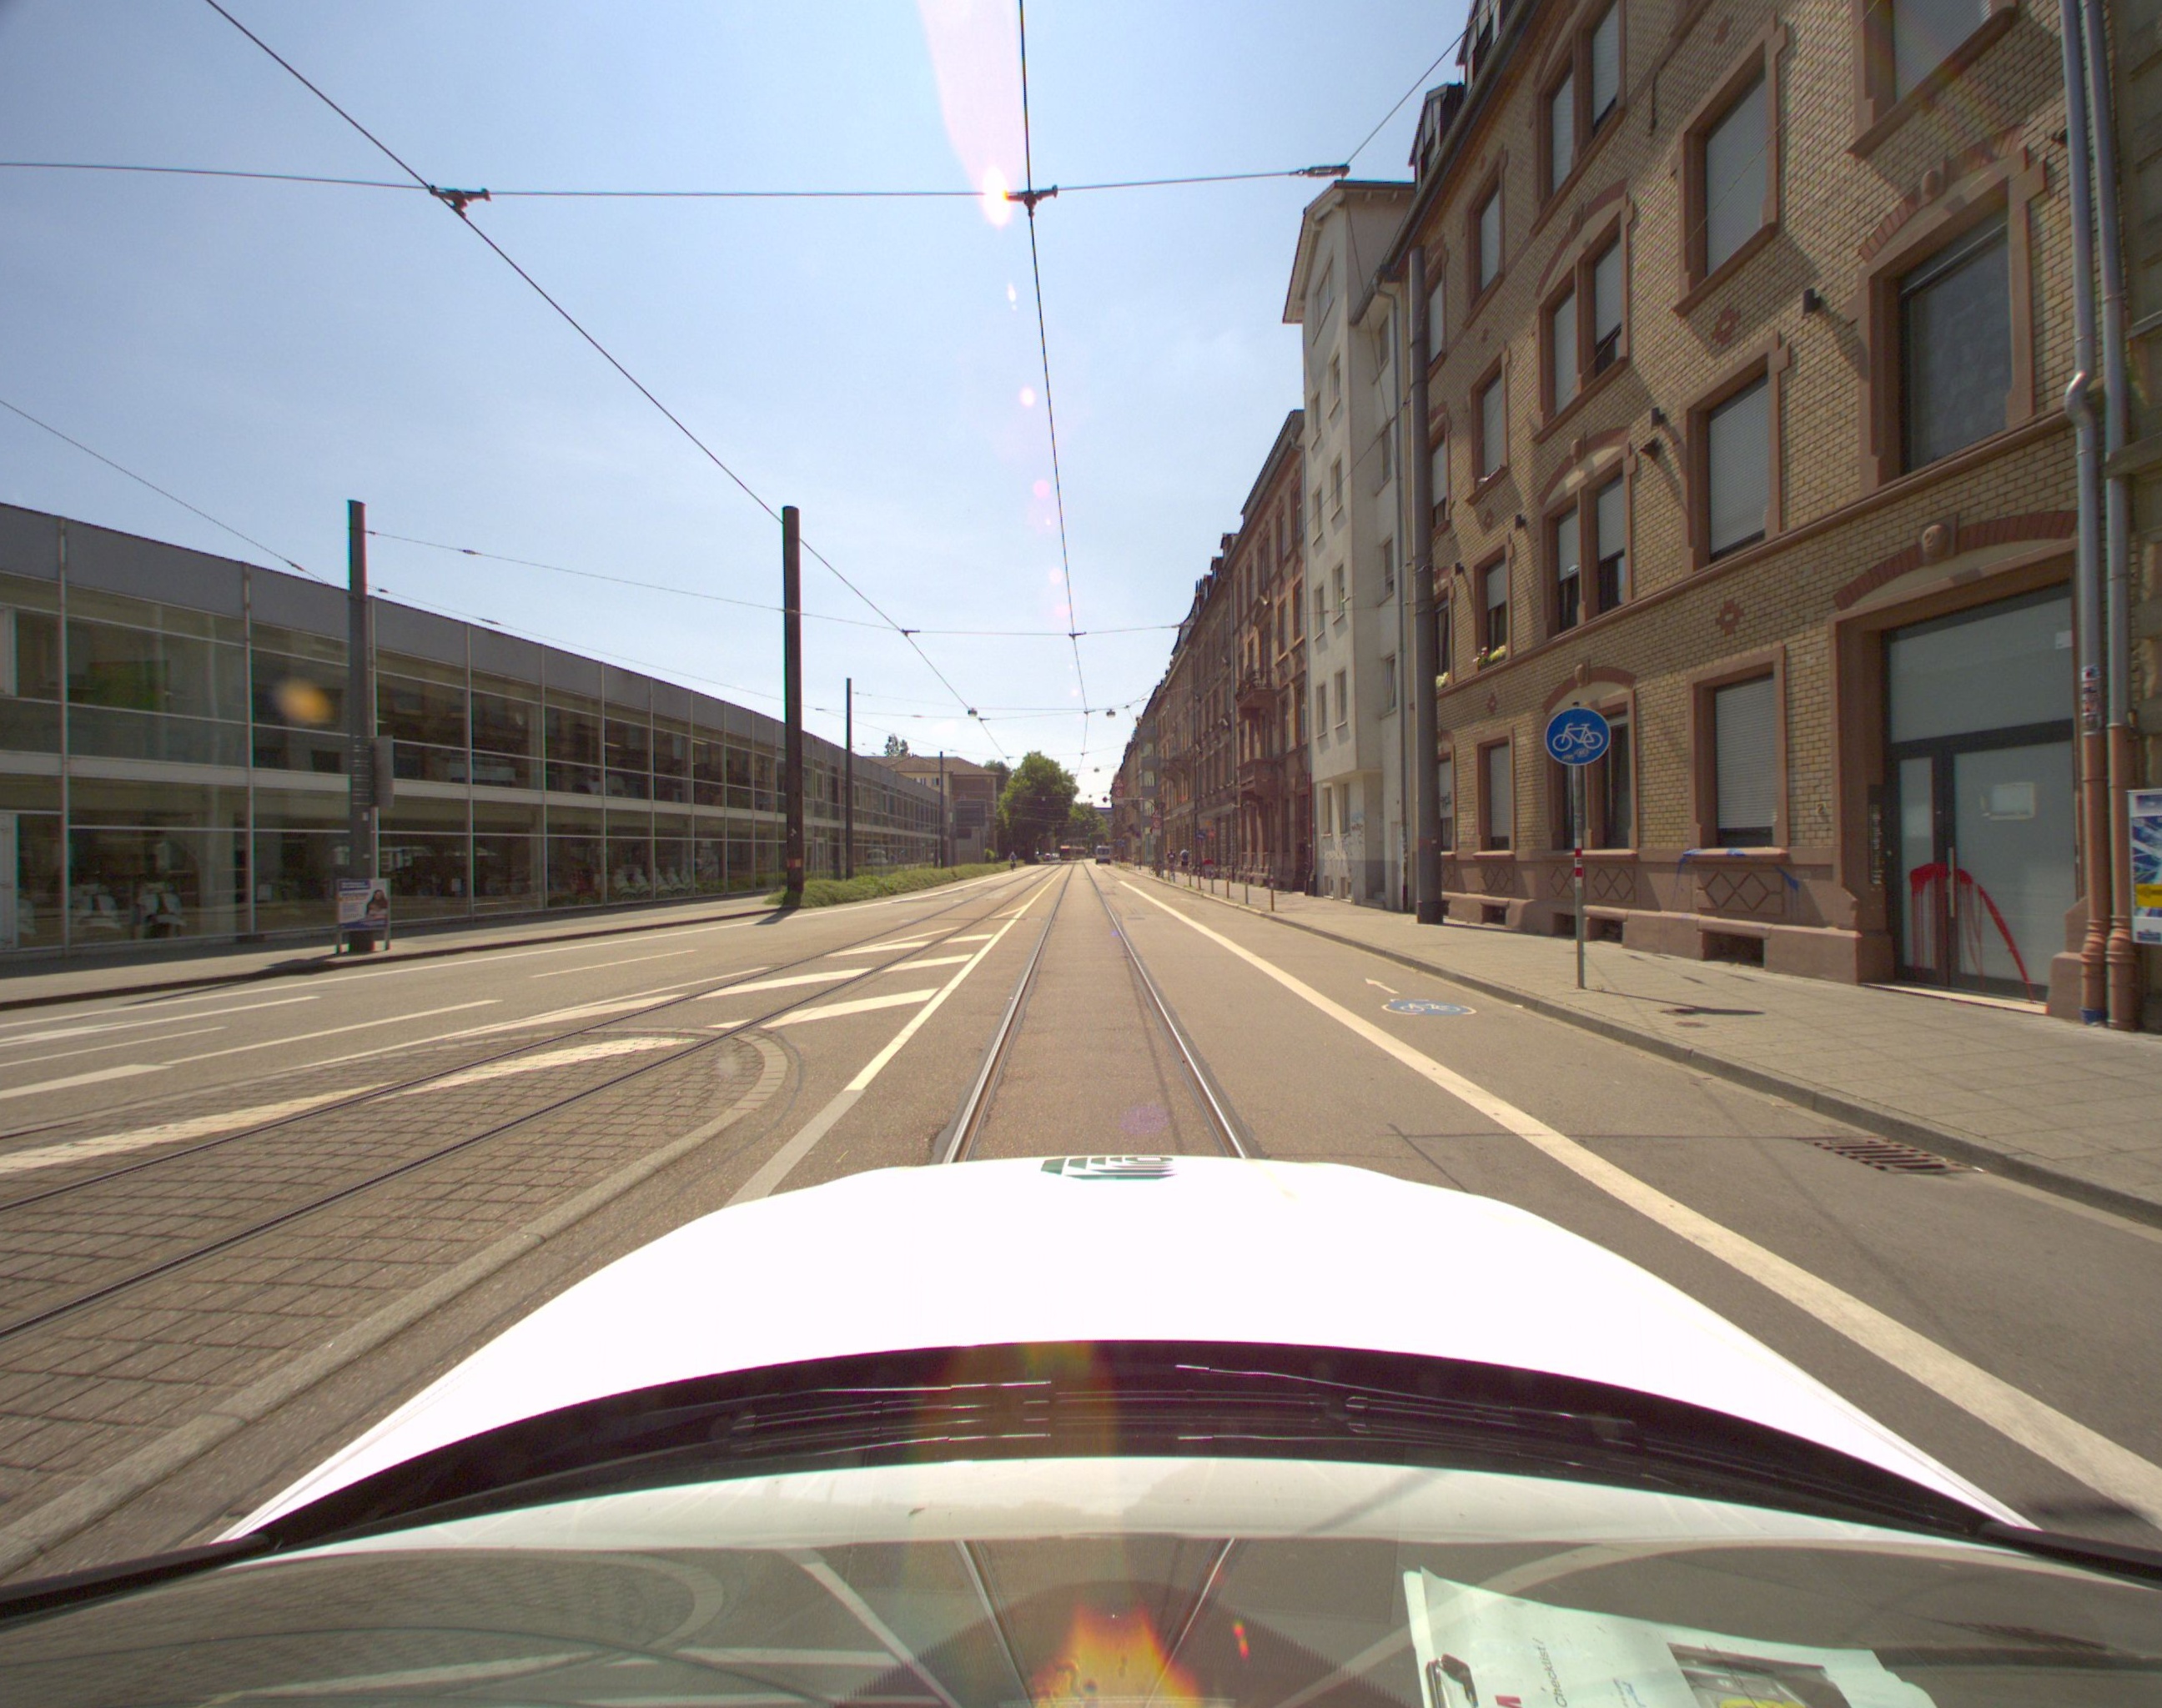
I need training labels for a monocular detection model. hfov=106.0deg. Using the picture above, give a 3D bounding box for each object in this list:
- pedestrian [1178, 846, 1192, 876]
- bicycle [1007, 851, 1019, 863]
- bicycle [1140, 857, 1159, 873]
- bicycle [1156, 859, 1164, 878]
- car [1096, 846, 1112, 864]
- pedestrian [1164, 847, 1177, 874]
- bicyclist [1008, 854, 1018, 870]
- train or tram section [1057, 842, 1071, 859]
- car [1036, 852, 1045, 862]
[{"bbox_3d":[6.700,0.449,52.459,0.700,1.849,0.644,-5,0,1],"label":"pedestrian"},{"bbox_3d":[-6.597,0.289,79.002,0.694,1.144,2.499,-1,0,6],"label":"bicycle"},{"bbox_3d":[4.972,0.798,58.751,0.494,1.130,2.257,-2,0,28],"label":"bicycle"},{"bbox_3d":[4.952,0.888,50.938,0.445,1.097,2.426,-2,0,5],"label":"bicycle"},{"bbox_3d":[3.153,0.106,112.966,2.060,2.501,5.455,0,0,1],"label":"car"},{"bbox_3d":[5.811,0.417,52.909,0.718,1.720,0.644,-1,0,1],"label":"pedestrian"},{"bbox_3d":[-6.580,0.794,78.919,0.694,1.548,0.981,-1,0,5],"label":"bicyclist"},{"bbox_3d":[-3.695,-0.762,184.968,2.952,3.580,13.419,-1,0,-1],"label":"train or tram section"},{"bbox_3d":[-8.045,0.567,162.898,1.796,1.923,3.996,0,0,-2],"label":"car"}]
